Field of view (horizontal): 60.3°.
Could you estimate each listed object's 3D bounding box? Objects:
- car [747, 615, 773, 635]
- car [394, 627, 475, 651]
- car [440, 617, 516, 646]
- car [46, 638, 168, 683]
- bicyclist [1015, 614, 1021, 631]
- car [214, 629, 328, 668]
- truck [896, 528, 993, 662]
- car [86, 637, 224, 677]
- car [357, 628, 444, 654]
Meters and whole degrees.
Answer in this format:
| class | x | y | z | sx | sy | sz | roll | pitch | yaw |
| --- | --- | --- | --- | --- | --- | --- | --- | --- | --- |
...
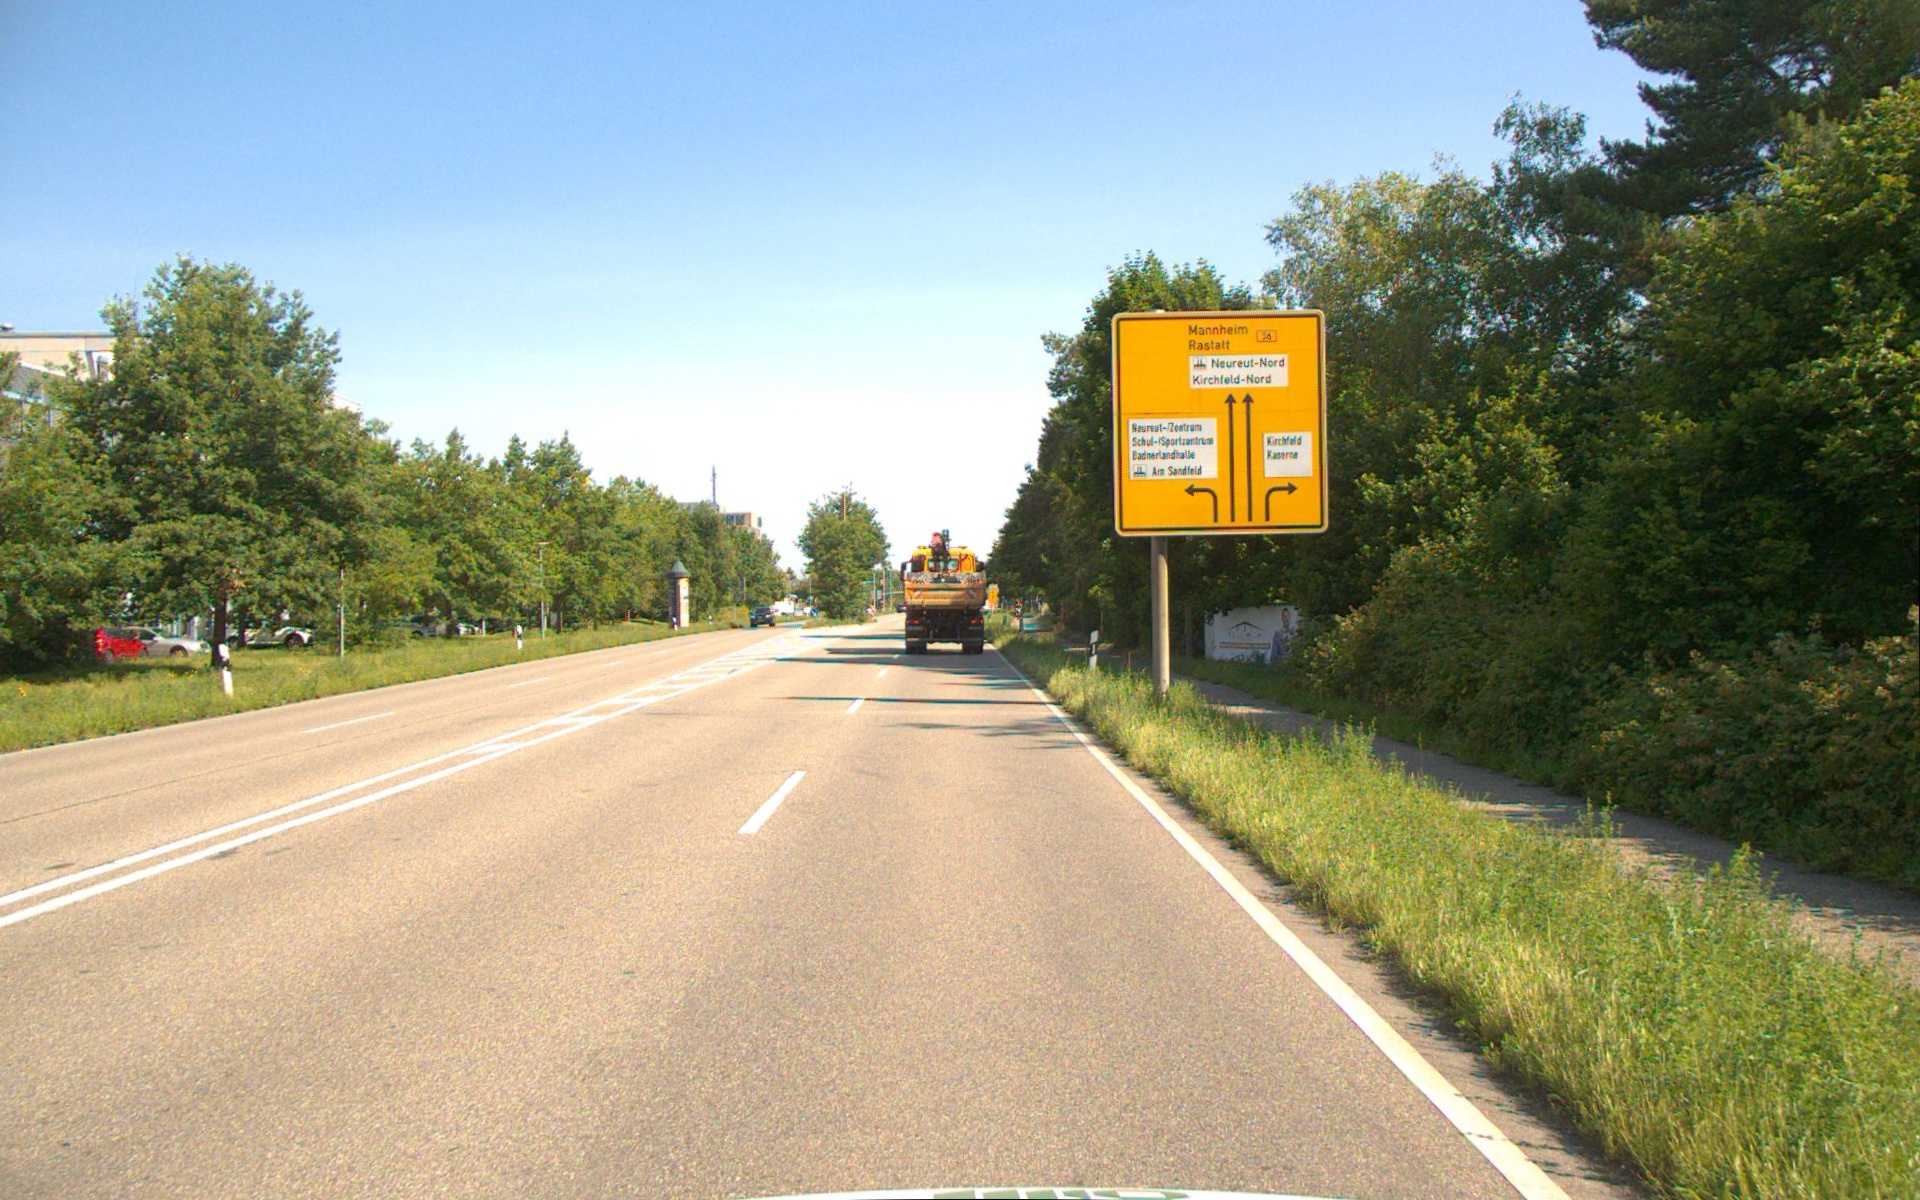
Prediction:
| class | x | y | z | sx | sy | sz | roll | pitch | yaw |
| --- | --- | --- | --- | --- | --- | --- | --- | --- | --- |
| car | -17.130 | 2.104 | 141.932 | 1.764 | 1.599 | 3.999 | -2 | 0 | -1 |
| car | -33.365 | 2.475 | 105.132 | 4.501 | 1.462 | 2.000 | -1 | 0 | -1 |
| car | -32.565 | 2.134 | 111.809 | 4.439 | 1.788 | 2.000 | -2 | -1 | 2 |
| car | -30.961 | 2.154 | 60.206 | 1.952 | 1.462 | 4.610 | -1 | 0 | 2 |
| bicyclist | 5.362 | 2.104 | 153.336 | 0.547 | 1.585 | 0.557 | -1 | -1 | -1 |
| car | -32.518 | 2.275 | 78.116 | 4.501 | 1.679 | 2.000 | -1 | 0 | -1 |
| truck | -0.618 | -0.119 | 53.484 | 2.814 | 3.948 | 7.395 | 1 | -1 | -3 |
| car | -32.144 | 2.265 | 66.123 | 4.501 | 1.462 | 2.000 | -1 | 0 | -1 |
| car | -33.346 | 2.425 | 98.693 | 4.501 | 1.462 | 2.000 | -1 | 0 | -1 |
